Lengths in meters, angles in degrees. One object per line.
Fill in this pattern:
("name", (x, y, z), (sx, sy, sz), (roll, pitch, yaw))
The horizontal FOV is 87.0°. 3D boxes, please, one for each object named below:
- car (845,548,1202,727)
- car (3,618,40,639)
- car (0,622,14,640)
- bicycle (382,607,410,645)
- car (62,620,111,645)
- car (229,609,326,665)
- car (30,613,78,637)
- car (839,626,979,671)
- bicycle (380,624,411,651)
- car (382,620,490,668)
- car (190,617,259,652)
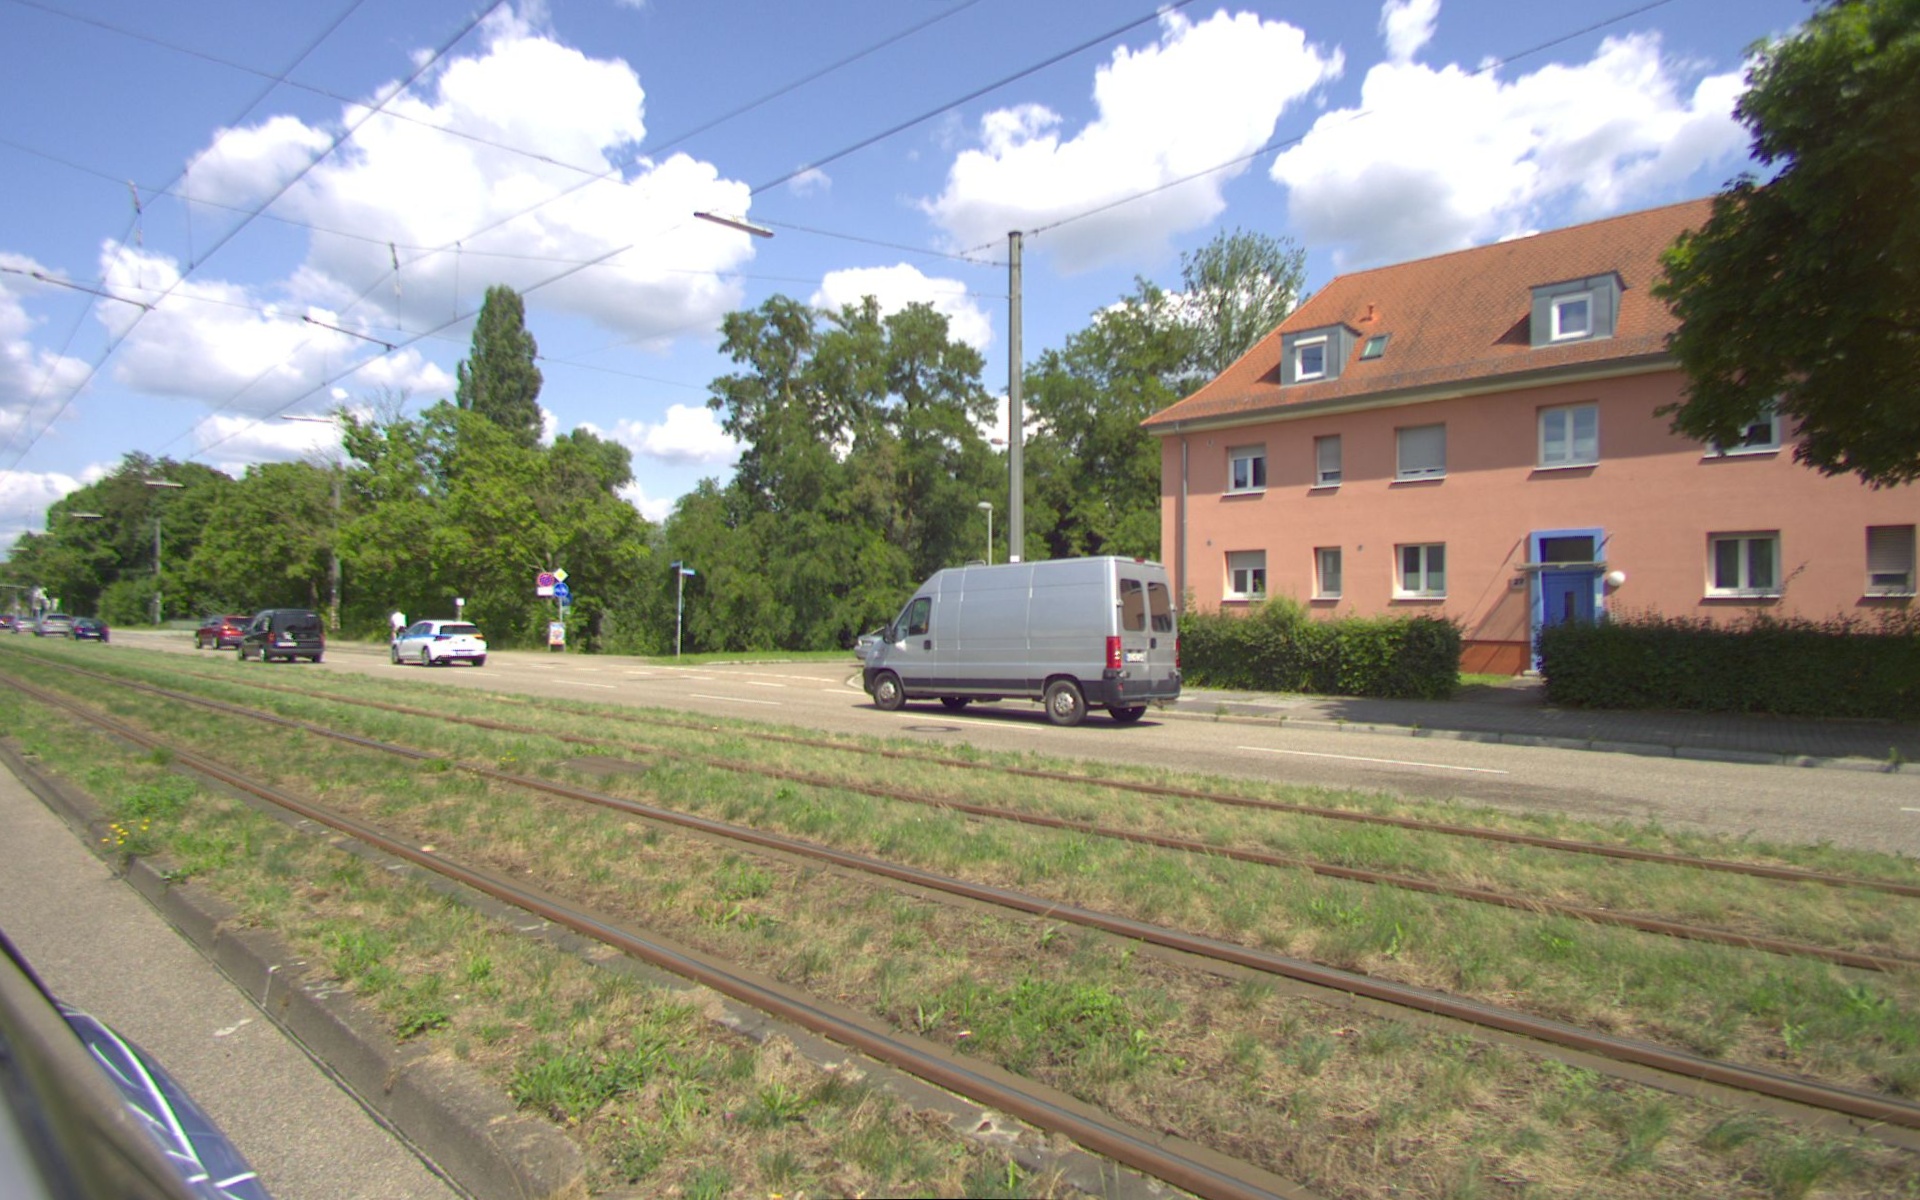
("car", (0.859, 0.600, 16.560), (5.773, 2.455, 2.011), (-1, -3, 40))
("car", (-78.246, 2.360, 84.369), (4.276, 1.664, 1.896), (-1, -2, 43))
("car", (-92.436, 2.989, 97.124), (4.276, 1.664, 2.093), (-1, -2, 43))
("bicycle", (-25.330, 1.166, 45.443), (0.952, 1.697, 0.790), (-1, -2, 42))
("car", (-51.488, 1.906, 59.601), (4.276, 1.405, 1.708), (-1, -2, 43))
("car", (-22.732, 1.204, 33.638), (4.226, 1.760, 1.668), (-1, -2, 42))
("car", (-63.975, 1.764, 71.441), (4.276, 1.664, 2.093), (-1, -2, 43))
("car", (-1.669, 1.582, 34.013), (4.403, 1.416, 2.003), (1, -2, -41))
("bicycle", (-25.328, 1.674, 45.423), (1.956, 1.197, 0.634), (-1, -2, 43))
("car", (-16.925, 1.384, 32.622), (4.275, 1.442, 1.668), (-1, -2, 42))
("car", (-34.957, 1.631, 48.074), (4.274, 1.591, 1.709), (-1, -2, 41))
